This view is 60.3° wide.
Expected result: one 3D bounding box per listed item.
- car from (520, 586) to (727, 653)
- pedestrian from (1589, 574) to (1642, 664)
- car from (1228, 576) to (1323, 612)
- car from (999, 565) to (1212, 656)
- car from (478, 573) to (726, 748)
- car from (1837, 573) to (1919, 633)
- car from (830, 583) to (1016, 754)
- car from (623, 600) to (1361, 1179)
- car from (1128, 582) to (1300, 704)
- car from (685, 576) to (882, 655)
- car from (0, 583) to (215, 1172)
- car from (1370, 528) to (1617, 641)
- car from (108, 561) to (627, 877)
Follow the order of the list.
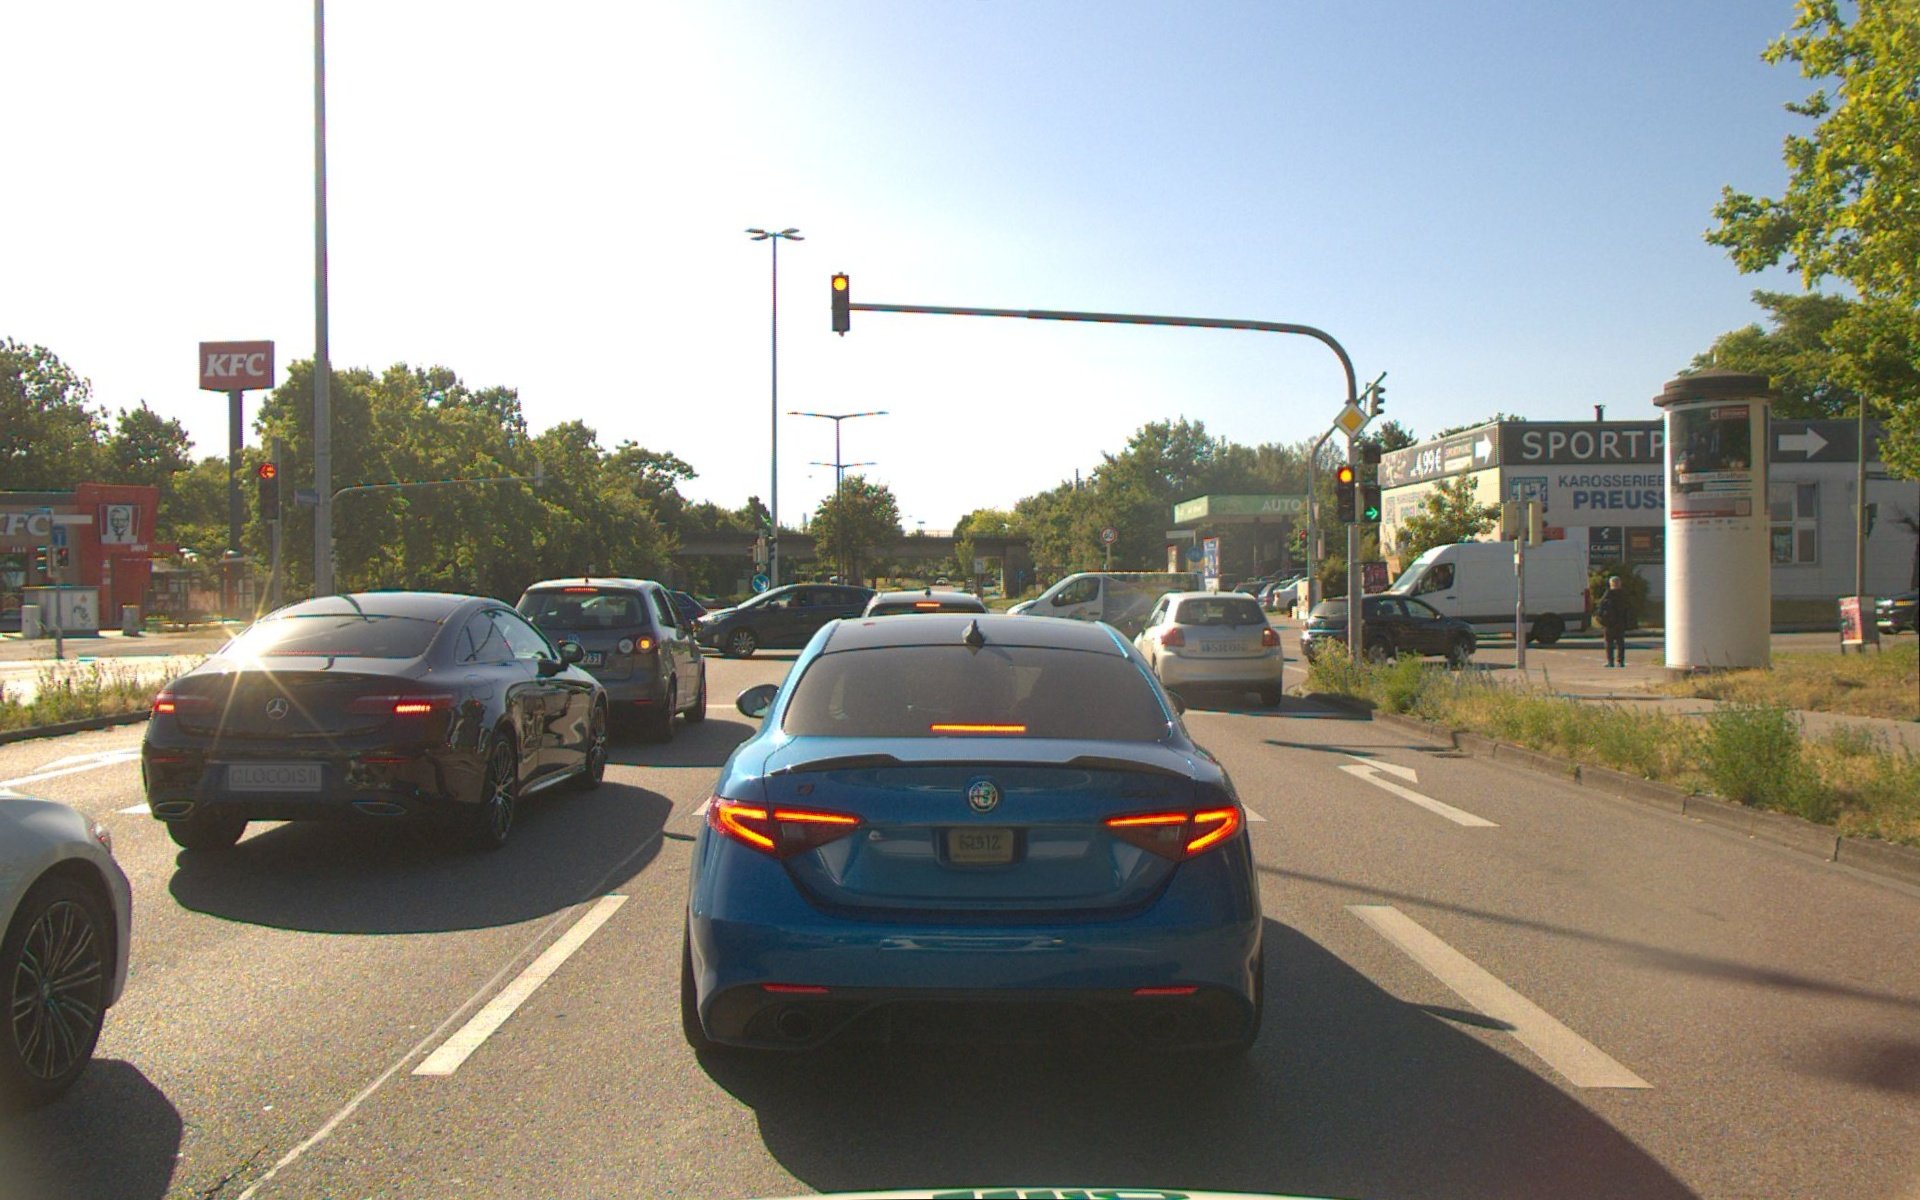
[{"bbox_3d":[-8.064,0.471,39.757,4.736,1.493,1.753,1,0,-13],"label":"car"},{"bbox_3d":[12.665,0.363,31.955,0.800,1.698,0.514,1,-1,-1],"label":"pedestrian"},{"bbox_3d":[14.253,-0.264,74.907,3.905,1.579,2.000,1,0,0],"label":"car"},{"bbox_3d":[3.418,0.238,39.441,4.854,2.071,1.880,-1,0,-2],"label":"car"},{"bbox_3d":[-3.591,0.567,17.349,1.776,1.578,4.351,1,0,-2],"label":"car"},{"bbox_3d":[25.719,0.101,43.902,3.905,1.534,1.878,1,0,-1],"label":"car"},{"bbox_3d":[-0.306,0.634,16.933,1.669,1.523,3.719,1,0,1],"label":"car"},{"bbox_3d":[0.110,0.751,6.103,1.870,1.447,3.719,1,0,1],"label":"car"},{"bbox_3d":[3.526,0.548,23.665,1.747,1.564,4.107,1,0,-1],"label":"car"},{"bbox_3d":[-3.993,0.349,37.177,4.231,1.678,1.633,1,0,-13],"label":"car"},{"bbox_3d":[-3.343,0.713,3.151,1.775,1.512,4.596,0,0,0],"label":"car"},{"bbox_3d":[13.760,-0.386,42.861,5.715,2.719,2.000,-1,-1,0],"label":"car"},{"bbox_3d":[-3.432,0.589,10.592,1.775,1.578,4.542,1,0,-1],"label":"car"}]
